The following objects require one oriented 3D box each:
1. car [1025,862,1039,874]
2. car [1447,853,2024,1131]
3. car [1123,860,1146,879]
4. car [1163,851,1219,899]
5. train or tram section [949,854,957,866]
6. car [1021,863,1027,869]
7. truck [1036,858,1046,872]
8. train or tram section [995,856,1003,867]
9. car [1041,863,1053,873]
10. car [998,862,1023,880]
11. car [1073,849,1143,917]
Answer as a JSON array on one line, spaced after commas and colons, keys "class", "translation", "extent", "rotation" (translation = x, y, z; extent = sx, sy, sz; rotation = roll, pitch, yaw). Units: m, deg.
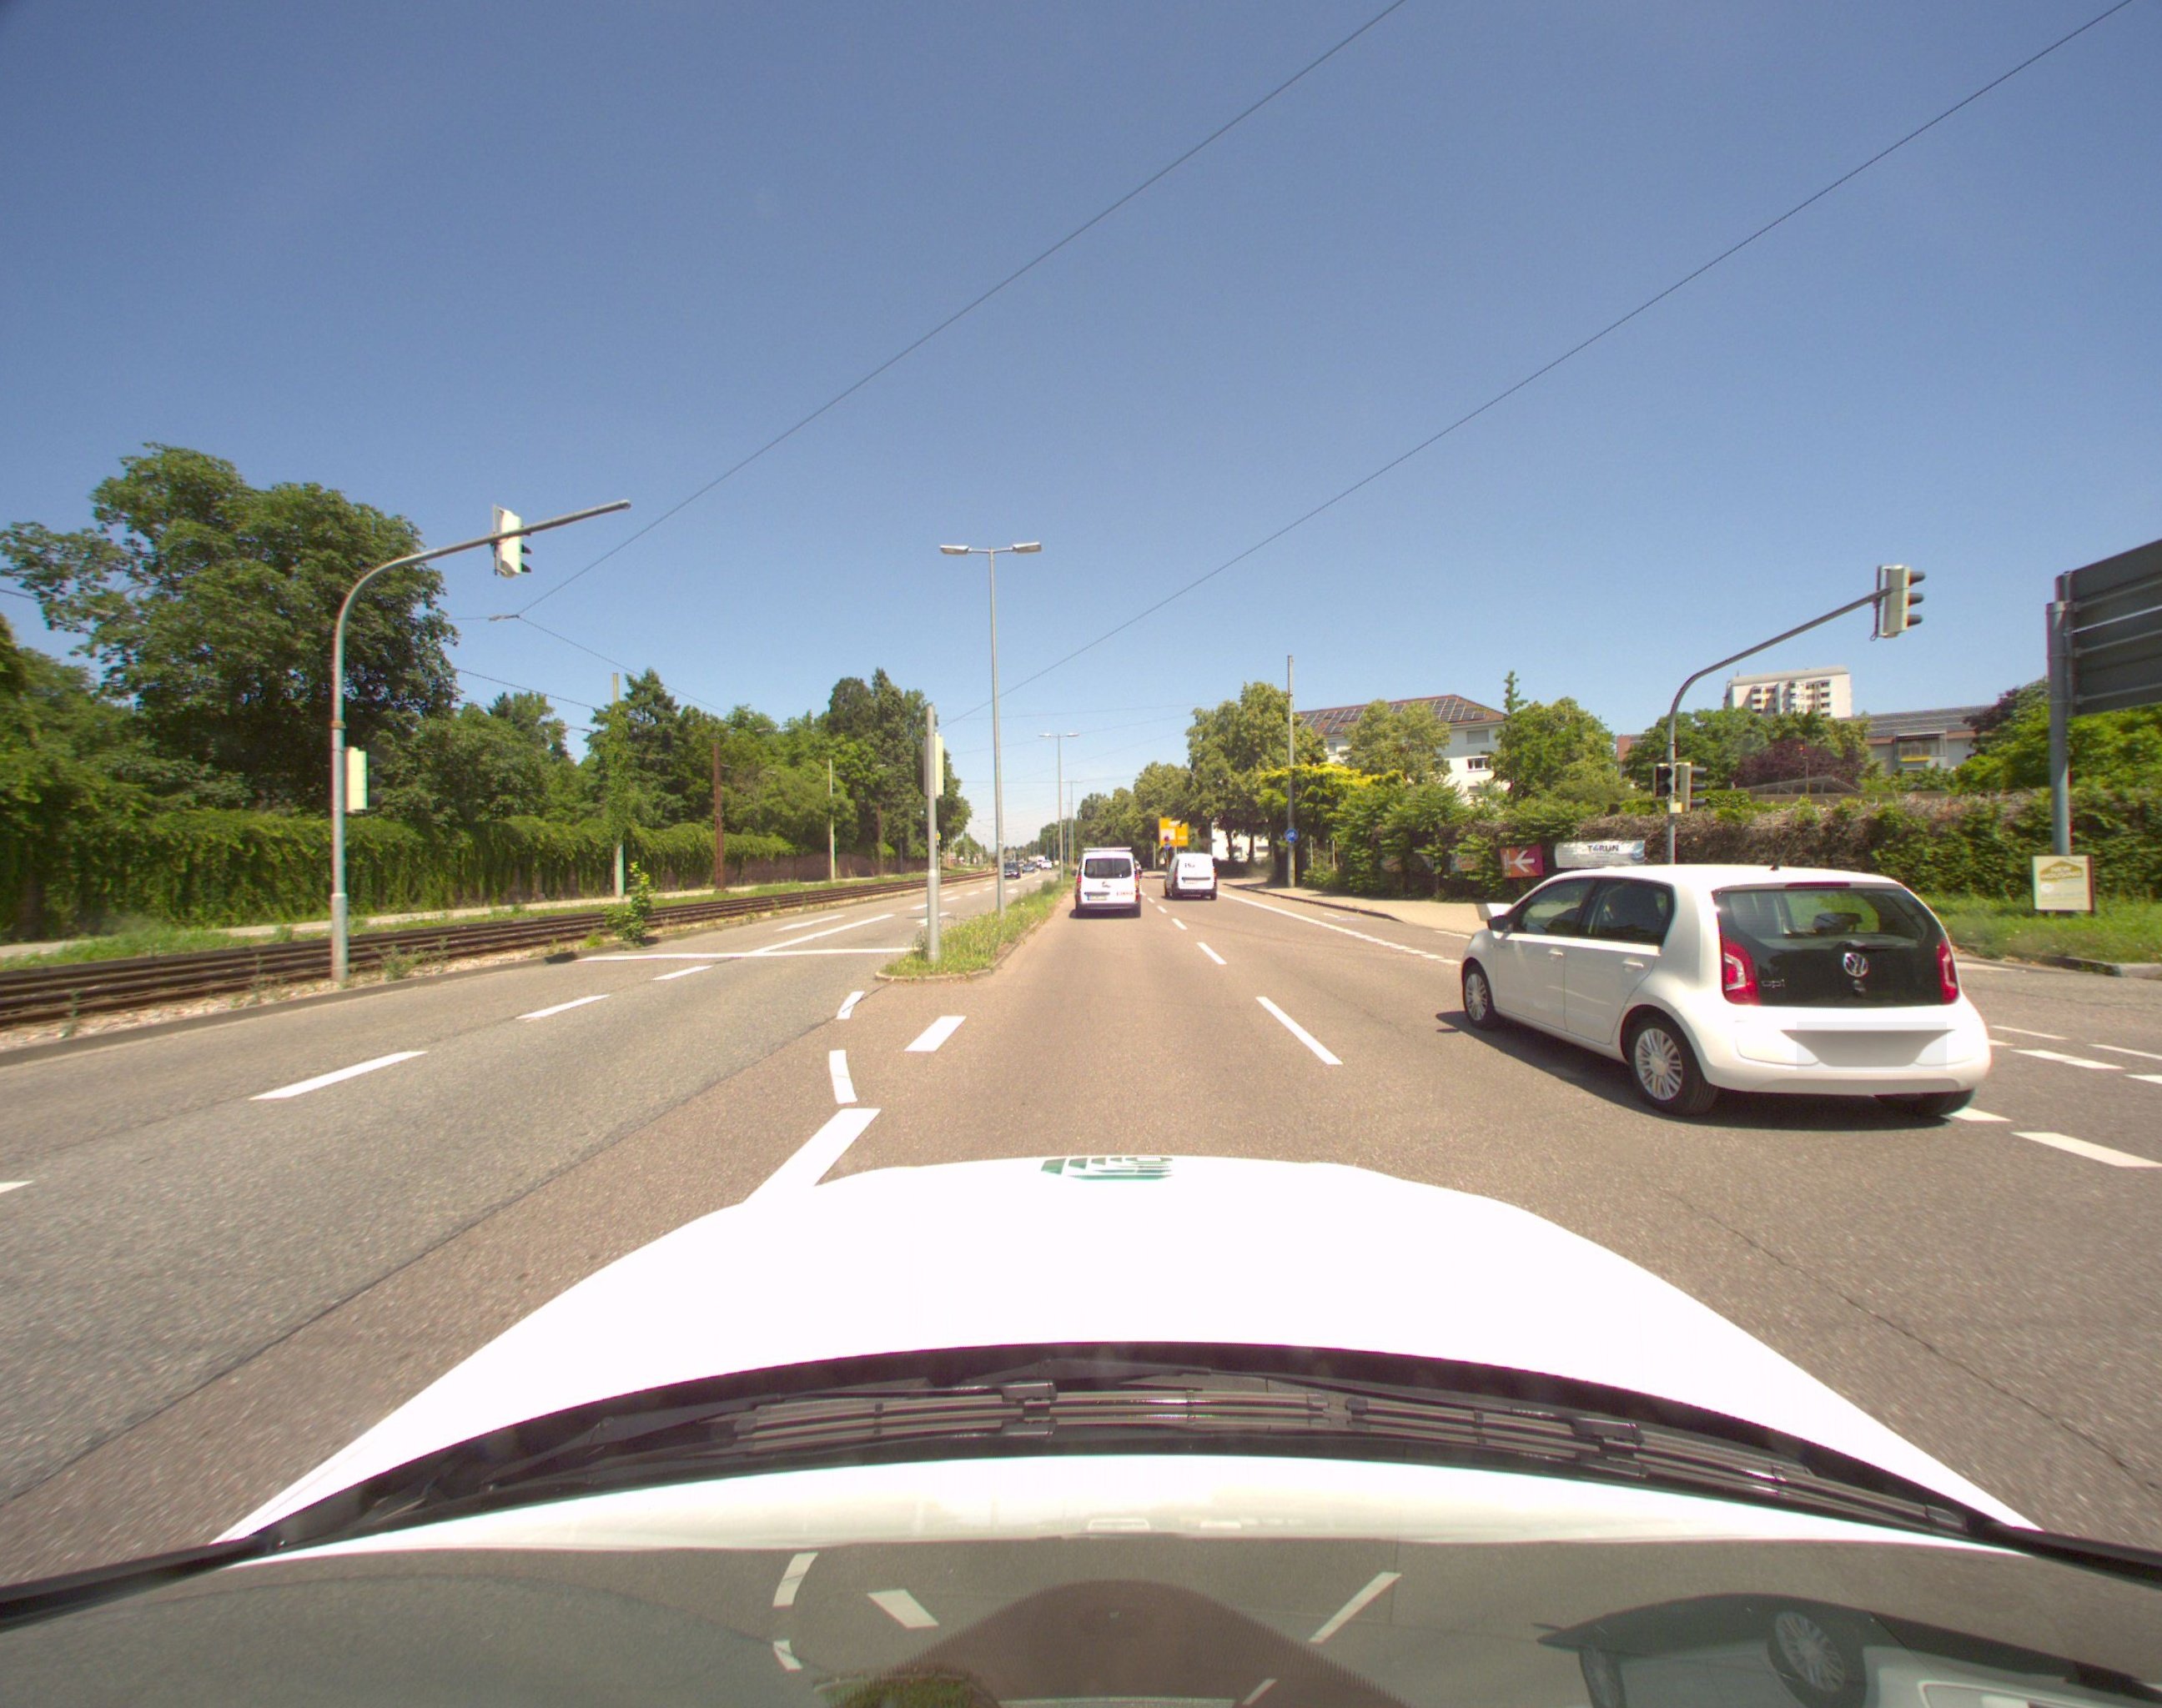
[{"class": "car", "translation": [-6.684, 1.910, 111.528], "extent": [1.692, 1.439, 3.999], "rotation": [-2, -1, 0]}, {"class": "car", "translation": [4.233, 0.728, 6.030], "extent": [1.603, 1.447, 3.437], "rotation": [1, 0, 2]}, {"class": "car", "translation": [4.574, 1.285, 70.313], "extent": [1.828, 1.568, 4.002], "rotation": [1, 0, 2]}, {"class": "car", "translation": [4.308, 0.813, 32.403], "extent": [1.721, 1.788, 4.065], "rotation": [1, -1, 1]}, {"class": "train or tram section", "translation": [-39.218, 1.934, 249.636], "extent": [1.992, 3.524, 16.124], "rotation": [1, -1, -7]}, {"class": "car", "translation": [-16.628, 3.528, 236.864], "extent": [1.743, 1.567, 3.995], "rotation": [1, -1, -3]}, {"class": "truck", "translation": [-9.688, 2.673, 196.985], "extent": [1.986, 3.214, 5.312], "rotation": [-1, -1, 1]}, {"class": "train or tram section", "translation": [-25.340, 2.311, 250.596], "extent": [1.992, 3.087, 16.124], "rotation": [1, -1, -7]}, {"class": "car", "translation": [-6.253, 2.516, 150.463], "extent": [1.986, 1.816, 4.001], "rotation": [-1, 0, 1]}, {"class": "car", "translation": [-6.365, 1.536, 73.880], "extent": [1.691, 1.513, 4.067], "rotation": [-1, 0, 1]}, {"class": "car", "translation": [0.777, 0.764, 23.150], "extent": [1.814, 1.740, 4.398], "rotation": [0, 0, 2]}]
